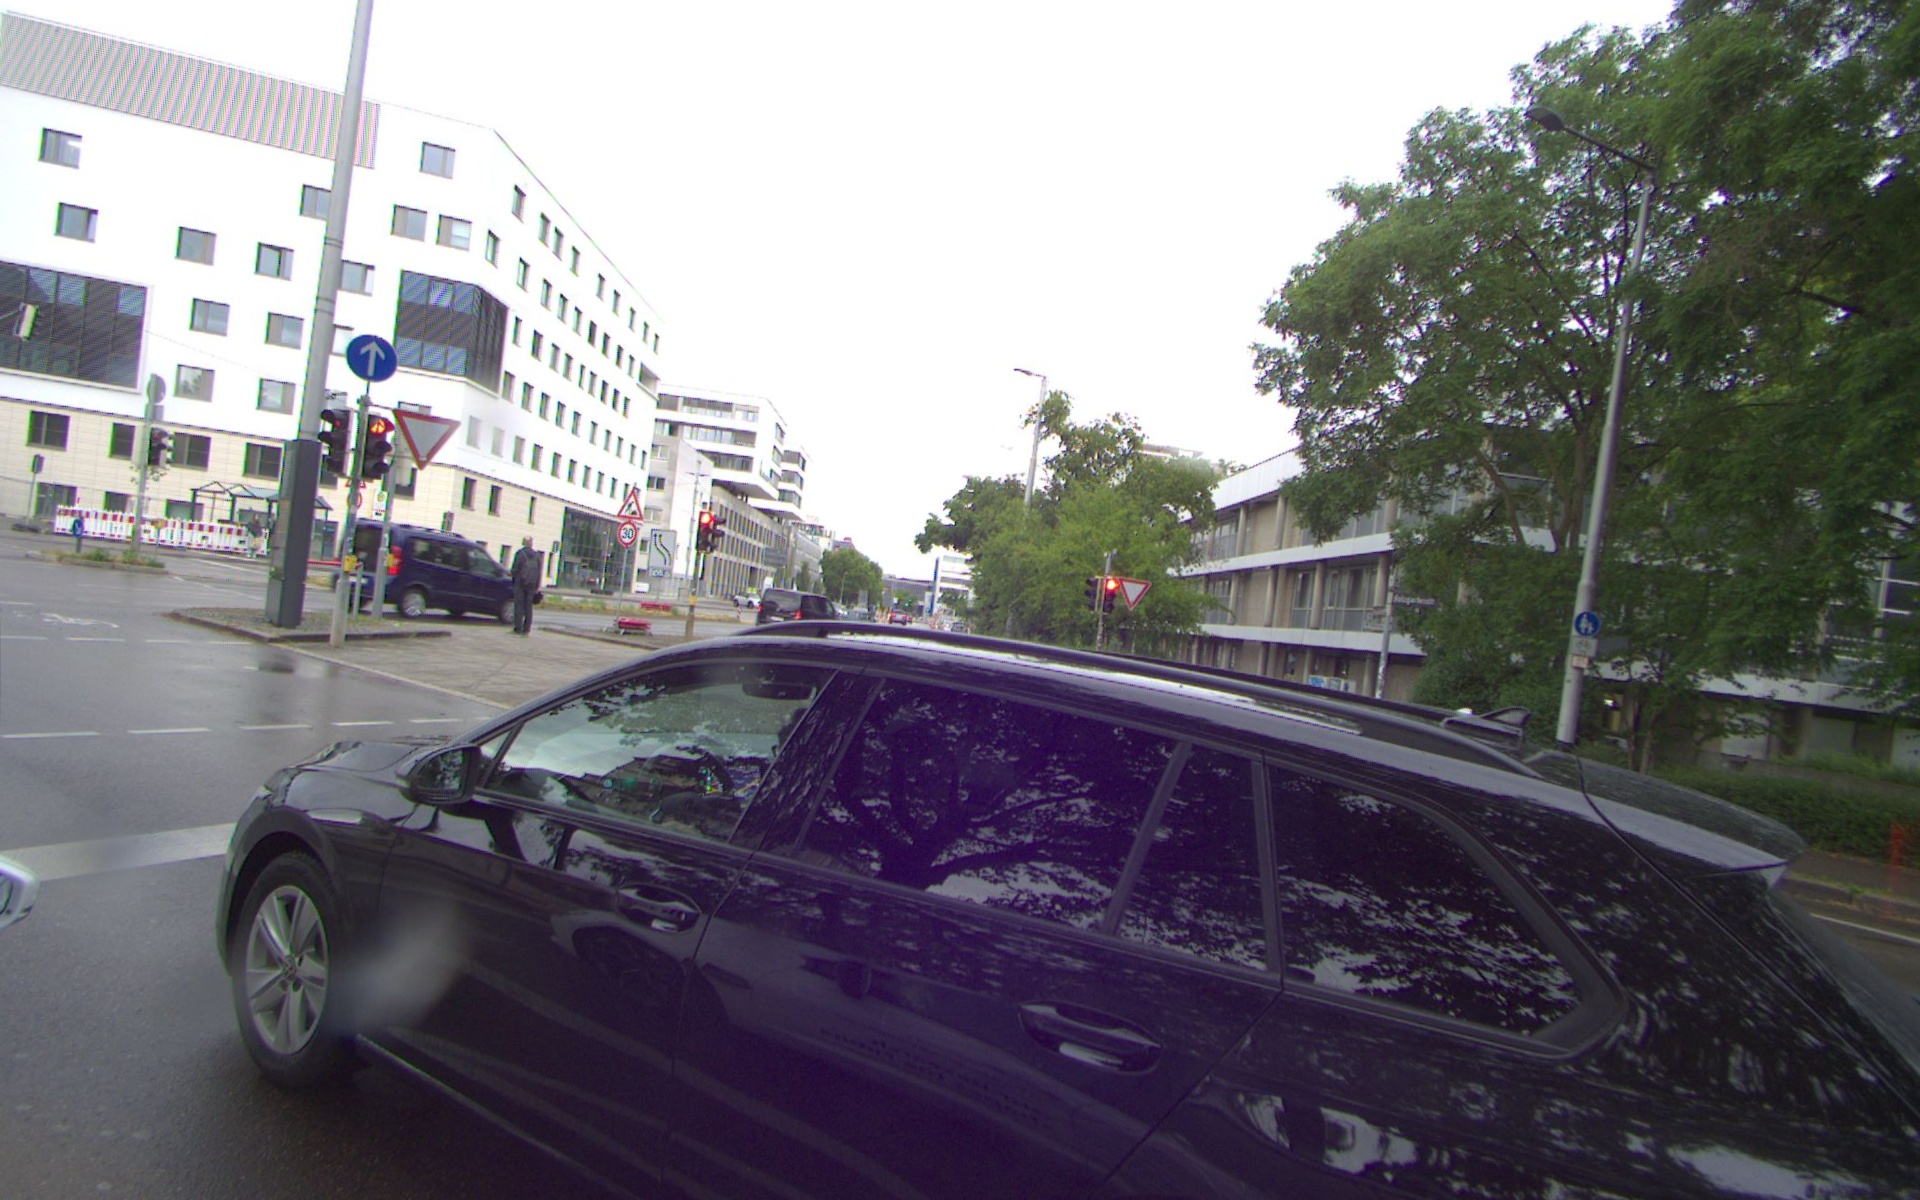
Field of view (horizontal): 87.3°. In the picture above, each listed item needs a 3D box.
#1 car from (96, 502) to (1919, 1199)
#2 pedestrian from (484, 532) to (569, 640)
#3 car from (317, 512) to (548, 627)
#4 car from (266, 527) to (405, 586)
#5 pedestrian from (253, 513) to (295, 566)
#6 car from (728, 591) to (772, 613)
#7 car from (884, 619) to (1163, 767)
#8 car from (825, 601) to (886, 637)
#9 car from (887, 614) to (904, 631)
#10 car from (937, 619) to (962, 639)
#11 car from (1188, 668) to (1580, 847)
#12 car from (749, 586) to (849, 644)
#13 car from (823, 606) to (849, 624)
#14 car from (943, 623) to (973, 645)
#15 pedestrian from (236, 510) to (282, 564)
[{"bbox_3d":[-0.269,0.771,2.699,4.436,1.483,1.673,8,-1,31],"label":"car"},{"bbox_3d":[-8.335,-0.255,19.374,1.009,1.913,0.830,6,-2,23],"label":"pedestrian"},{"bbox_3d":[-11.401,-0.573,22.125,1.764,1.930,4.312,8,-1,18],"label":"car"},{"bbox_3d":[-22.790,-1.548,36.883,1.764,1.460,4.006,8,-3,17],"label":"car"},{"bbox_3d":[-27.713,-2.456,40.652,0.941,1.957,1.001,5,-2,41],"label":"pedestrian"},{"bbox_3d":[-20.724,0.233,99.218,4.003,1.575,1.962,7,-3,38],"label":"car"},{"bbox_3d":[0.756,1.253,14.477,1.851,1.467,3.964,9,-2,-34],"label":"car"},{"bbox_3d":[-5.831,1.098,56.615,1.962,1.693,4.974,7,-1,10],"label":"car"},{"bbox_3d":[-7.637,2.709,119.506,1.834,1.669,4.779,7,-3,-3],"label":"car"},{"bbox_3d":[-1.043,2.811,95.970,1.835,1.669,4.777,7,-3,-5],"label":"car"},{"bbox_3d":[5.400,1.971,13.363,1.853,1.467,4.359,9,-1,-37],"label":"car"},{"bbox_3d":[-6.208,0.659,39.381,1.962,1.830,4.791,8,-1,14],"label":"car"},{"bbox_3d":[-12.975,1.587,105.202,1.930,1.554,4.163,8,-2,2],"label":"car"},{"bbox_3d":[-0.140,2.753,81.401,1.832,1.437,4.006,7,-3,6],"label":"car"},{"bbox_3d":[-26.663,-2.380,38.247,0.808,1.861,0.955,6,-2,20],"label":"pedestrian"}]
